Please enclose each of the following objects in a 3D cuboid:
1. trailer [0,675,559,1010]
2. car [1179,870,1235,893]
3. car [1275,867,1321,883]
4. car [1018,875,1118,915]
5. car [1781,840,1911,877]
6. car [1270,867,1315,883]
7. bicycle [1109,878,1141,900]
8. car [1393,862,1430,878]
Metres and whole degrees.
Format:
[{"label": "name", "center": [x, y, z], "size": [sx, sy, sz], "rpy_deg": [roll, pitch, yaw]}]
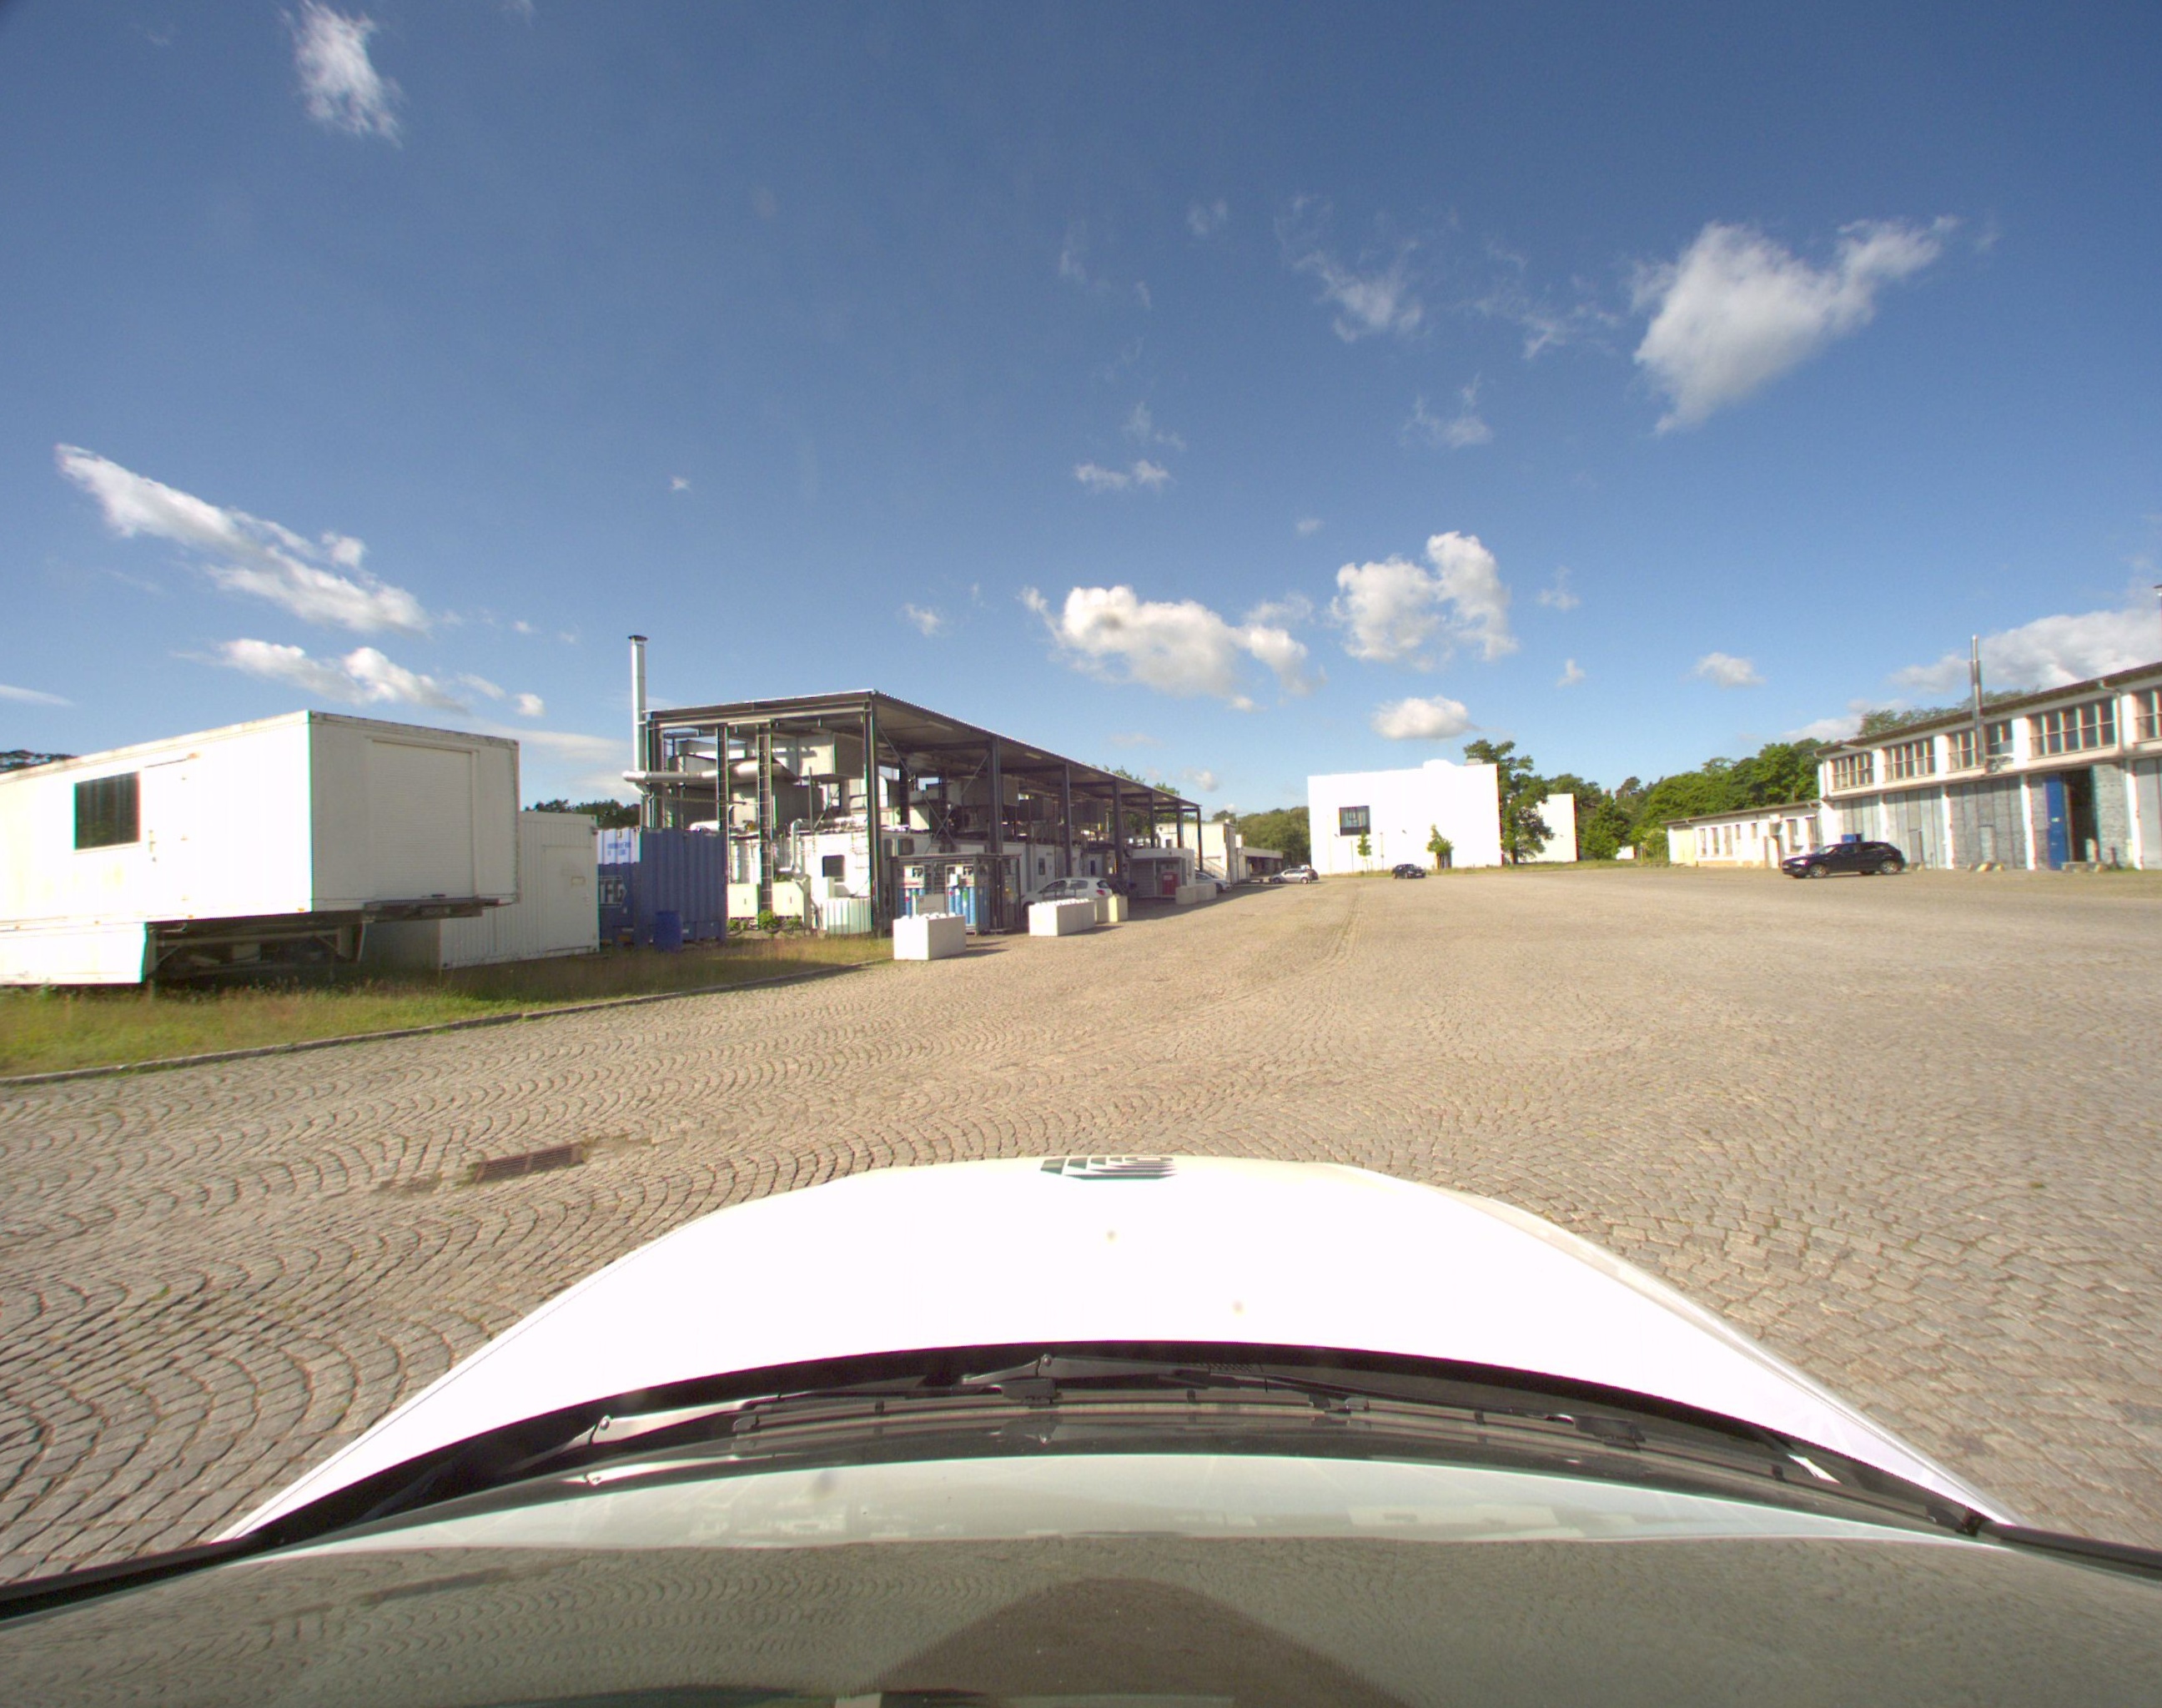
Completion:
[{"label": "trailer", "center": [-13.322, 0.120, 12.735], "size": [10.757, 3.911, 2.796], "rpy_deg": [-3, -2, 21]}, {"label": "car", "center": [8.874, 1.932, 57.178], "size": [3.657, 1.409, 1.682], "rpy_deg": [-3, -2, 16]}, {"label": "car", "center": [21.893, 2.115, 82.287], "size": [4.310, 1.470, 1.748], "rpy_deg": [-3, -2, 18]}, {"label": "car", "center": [-0.471, 1.548, 31.081], "size": [3.436, 1.376, 1.618], "rpy_deg": [-3, -2, 16]}, {"label": "car", "center": [35.785, 0.216, 38.208], "size": [4.031, 1.470, 1.748], "rpy_deg": [-4, -2, 18]}, {"label": "car", "center": [20.599, 2.059, 79.292], "size": [4.141, 1.404, 1.748], "rpy_deg": [-3, -2, 18]}, {"label": "bicycle", "center": [2.400, 1.909, 44.409], "size": [1.652, 1.137, 0.487], "rpy_deg": [-3, -2, 18]}, {"label": "car", "center": [31.763, 1.521, 78.365], "size": [1.731, 1.429, 4.071], "rpy_deg": [-2, -2, -3]}]
